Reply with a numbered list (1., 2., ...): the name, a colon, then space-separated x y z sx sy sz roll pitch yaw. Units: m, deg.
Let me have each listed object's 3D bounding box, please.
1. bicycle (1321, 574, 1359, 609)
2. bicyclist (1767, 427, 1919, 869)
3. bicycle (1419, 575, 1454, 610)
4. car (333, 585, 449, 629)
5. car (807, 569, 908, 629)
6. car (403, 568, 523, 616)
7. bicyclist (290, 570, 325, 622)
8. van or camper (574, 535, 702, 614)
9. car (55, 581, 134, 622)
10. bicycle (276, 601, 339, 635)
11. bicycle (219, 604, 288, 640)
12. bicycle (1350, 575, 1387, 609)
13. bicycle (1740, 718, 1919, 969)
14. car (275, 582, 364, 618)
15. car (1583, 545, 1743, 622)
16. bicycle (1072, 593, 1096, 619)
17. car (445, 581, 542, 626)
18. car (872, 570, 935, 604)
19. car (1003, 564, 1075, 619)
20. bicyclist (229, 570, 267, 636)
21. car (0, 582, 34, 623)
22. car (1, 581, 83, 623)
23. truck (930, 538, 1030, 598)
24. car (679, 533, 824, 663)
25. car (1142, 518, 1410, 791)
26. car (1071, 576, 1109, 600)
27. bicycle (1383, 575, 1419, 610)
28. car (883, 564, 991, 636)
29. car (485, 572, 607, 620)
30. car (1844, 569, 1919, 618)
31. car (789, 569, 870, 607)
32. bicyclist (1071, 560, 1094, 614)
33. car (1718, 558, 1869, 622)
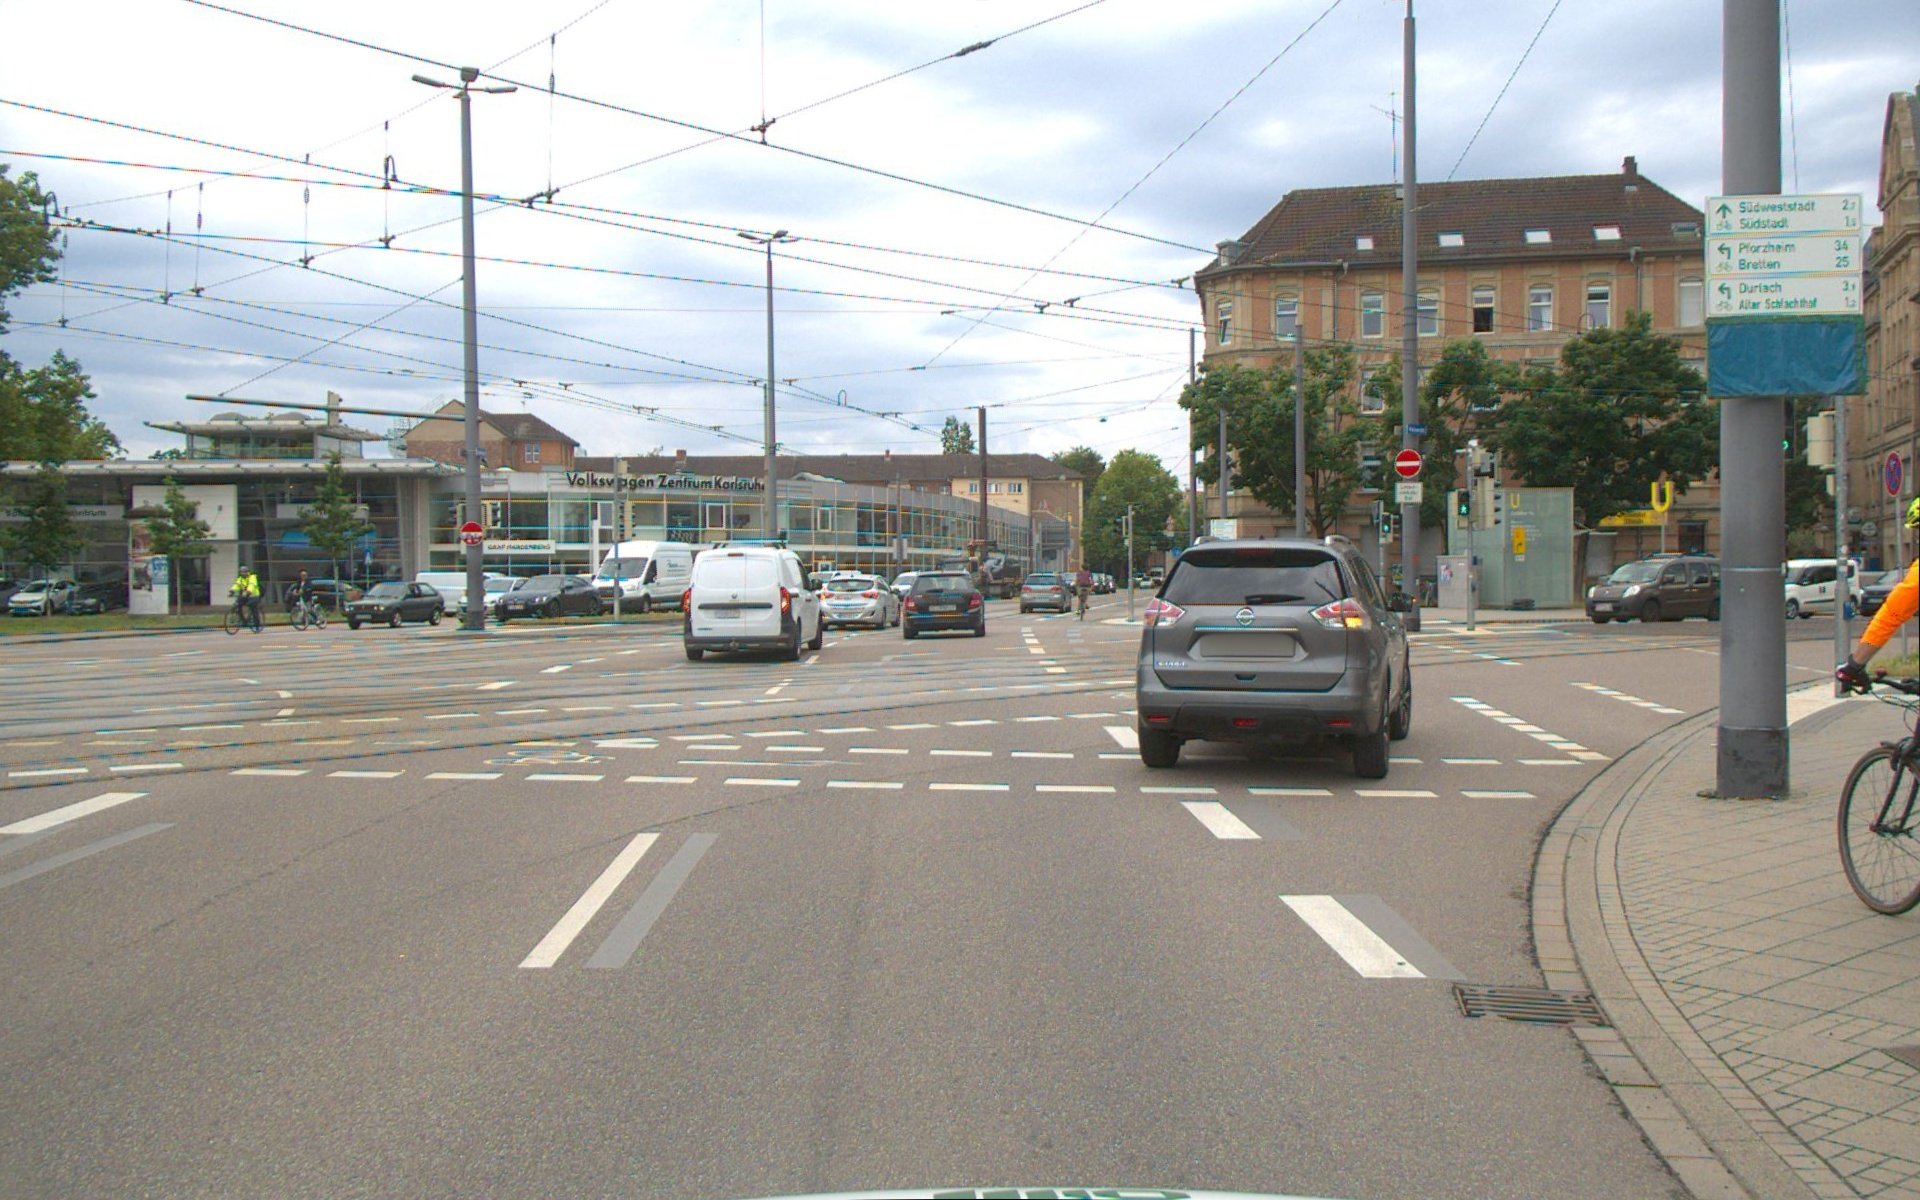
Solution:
1. bicycle: 15.723 -0.347 68.354 0.938 1.378 3.119 1 0 24
2. bicyclist: 3.947 0.174 6.475 0.811 1.649 1.319 -1 0 -8
3. bicycle: 19.471 -0.295 67.547 0.938 1.378 3.119 1 0 24
4. car: -17.018 0.182 49.641 1.650 1.268 3.741 0 1 10
5. car: -2.706 -0.036 44.382 1.813 1.534 4.003 1 0 10
6. car: -22.170 -0.357 73.835 4.664 2.049 2.123 1 0 11
7. bicyclist: -19.411 -0.127 49.207 0.554 1.534 0.857 0 2 15
8. van or camper: -11.445 -0.884 59.327 2.363 2.656 6.057 1 0 11
9. car: -44.152 0.067 84.508 1.953 2.049 3.999 1 0 -1
10. bicycle: -19.411 0.515 49.233 0.507 0.942 2.225 0 1 15
11. bicycle: -19.919 0.617 46.680 0.507 0.946 2.225 0 1 15
12. bicycle: 16.805 -0.331 67.999 0.938 1.378 3.119 1 0 24
13. bicycle: 3.937 0.981 6.485 0.546 0.863 2.070 -1 1 -8
14. car: -26.699 -0.009 69.047 1.600 1.445 3.741 0 1 13
15. car: 18.612 -0.433 43.742 4.327 1.933 1.677 0 0 -31
16. bicycle: 4.021 0.186 53.672 0.606 0.807 1.591 0 1 -1
17. car: -15.421 0.085 54.817 1.600 1.445 3.741 0 1 10
18. car: -3.209 -0.762 95.170 1.953 1.871 4.522 0 1 22
19. car: 3.090 -0.330 63.839 1.951 2.049 4.003 1 0 15
20. bicyclist: -19.993 0.089 46.462 0.614 1.835 0.798 0 0 15
21. car: -49.410 0.099 84.477 1.953 2.049 3.999 1 0 -1
22. car: -46.943 0.098 84.649 1.953 2.049 3.999 1 0 -1
23. truck: 1.391 -1.953 104.934 2.739 3.611 9.216 1 0 25
24. car: -3.360 -0.057 27.387 1.873 1.974 4.131 0 1 0
25. car: 2.612 0.330 12.962 1.712 1.786 3.926 0 1 16
26. car: 10.117 -0.959 128.409 1.951 1.871 4.525 0 1 17
27. bicycle: 18.030 -0.314 67.618 0.938 1.378 3.119 1 0 24
28. car: -0.437 -0.023 35.689 1.951 1.445 4.003 0 1 5
29. car: -12.912 -0.152 51.869 1.951 1.445 4.666 0 1 10
30. car: 31.673 -0.233 55.213 4.242 1.561 1.850 -1 -1 -30
31. car: -6.719 -0.625 85.769 2.112 1.889 5.449 0 1 20
32. bicyclist: 3.986 -0.430 53.727 0.673 1.738 0.798 0 0 -1
33. car: 26.424 -0.348 52.417 5.029 1.949 1.851 -1 1 -30
